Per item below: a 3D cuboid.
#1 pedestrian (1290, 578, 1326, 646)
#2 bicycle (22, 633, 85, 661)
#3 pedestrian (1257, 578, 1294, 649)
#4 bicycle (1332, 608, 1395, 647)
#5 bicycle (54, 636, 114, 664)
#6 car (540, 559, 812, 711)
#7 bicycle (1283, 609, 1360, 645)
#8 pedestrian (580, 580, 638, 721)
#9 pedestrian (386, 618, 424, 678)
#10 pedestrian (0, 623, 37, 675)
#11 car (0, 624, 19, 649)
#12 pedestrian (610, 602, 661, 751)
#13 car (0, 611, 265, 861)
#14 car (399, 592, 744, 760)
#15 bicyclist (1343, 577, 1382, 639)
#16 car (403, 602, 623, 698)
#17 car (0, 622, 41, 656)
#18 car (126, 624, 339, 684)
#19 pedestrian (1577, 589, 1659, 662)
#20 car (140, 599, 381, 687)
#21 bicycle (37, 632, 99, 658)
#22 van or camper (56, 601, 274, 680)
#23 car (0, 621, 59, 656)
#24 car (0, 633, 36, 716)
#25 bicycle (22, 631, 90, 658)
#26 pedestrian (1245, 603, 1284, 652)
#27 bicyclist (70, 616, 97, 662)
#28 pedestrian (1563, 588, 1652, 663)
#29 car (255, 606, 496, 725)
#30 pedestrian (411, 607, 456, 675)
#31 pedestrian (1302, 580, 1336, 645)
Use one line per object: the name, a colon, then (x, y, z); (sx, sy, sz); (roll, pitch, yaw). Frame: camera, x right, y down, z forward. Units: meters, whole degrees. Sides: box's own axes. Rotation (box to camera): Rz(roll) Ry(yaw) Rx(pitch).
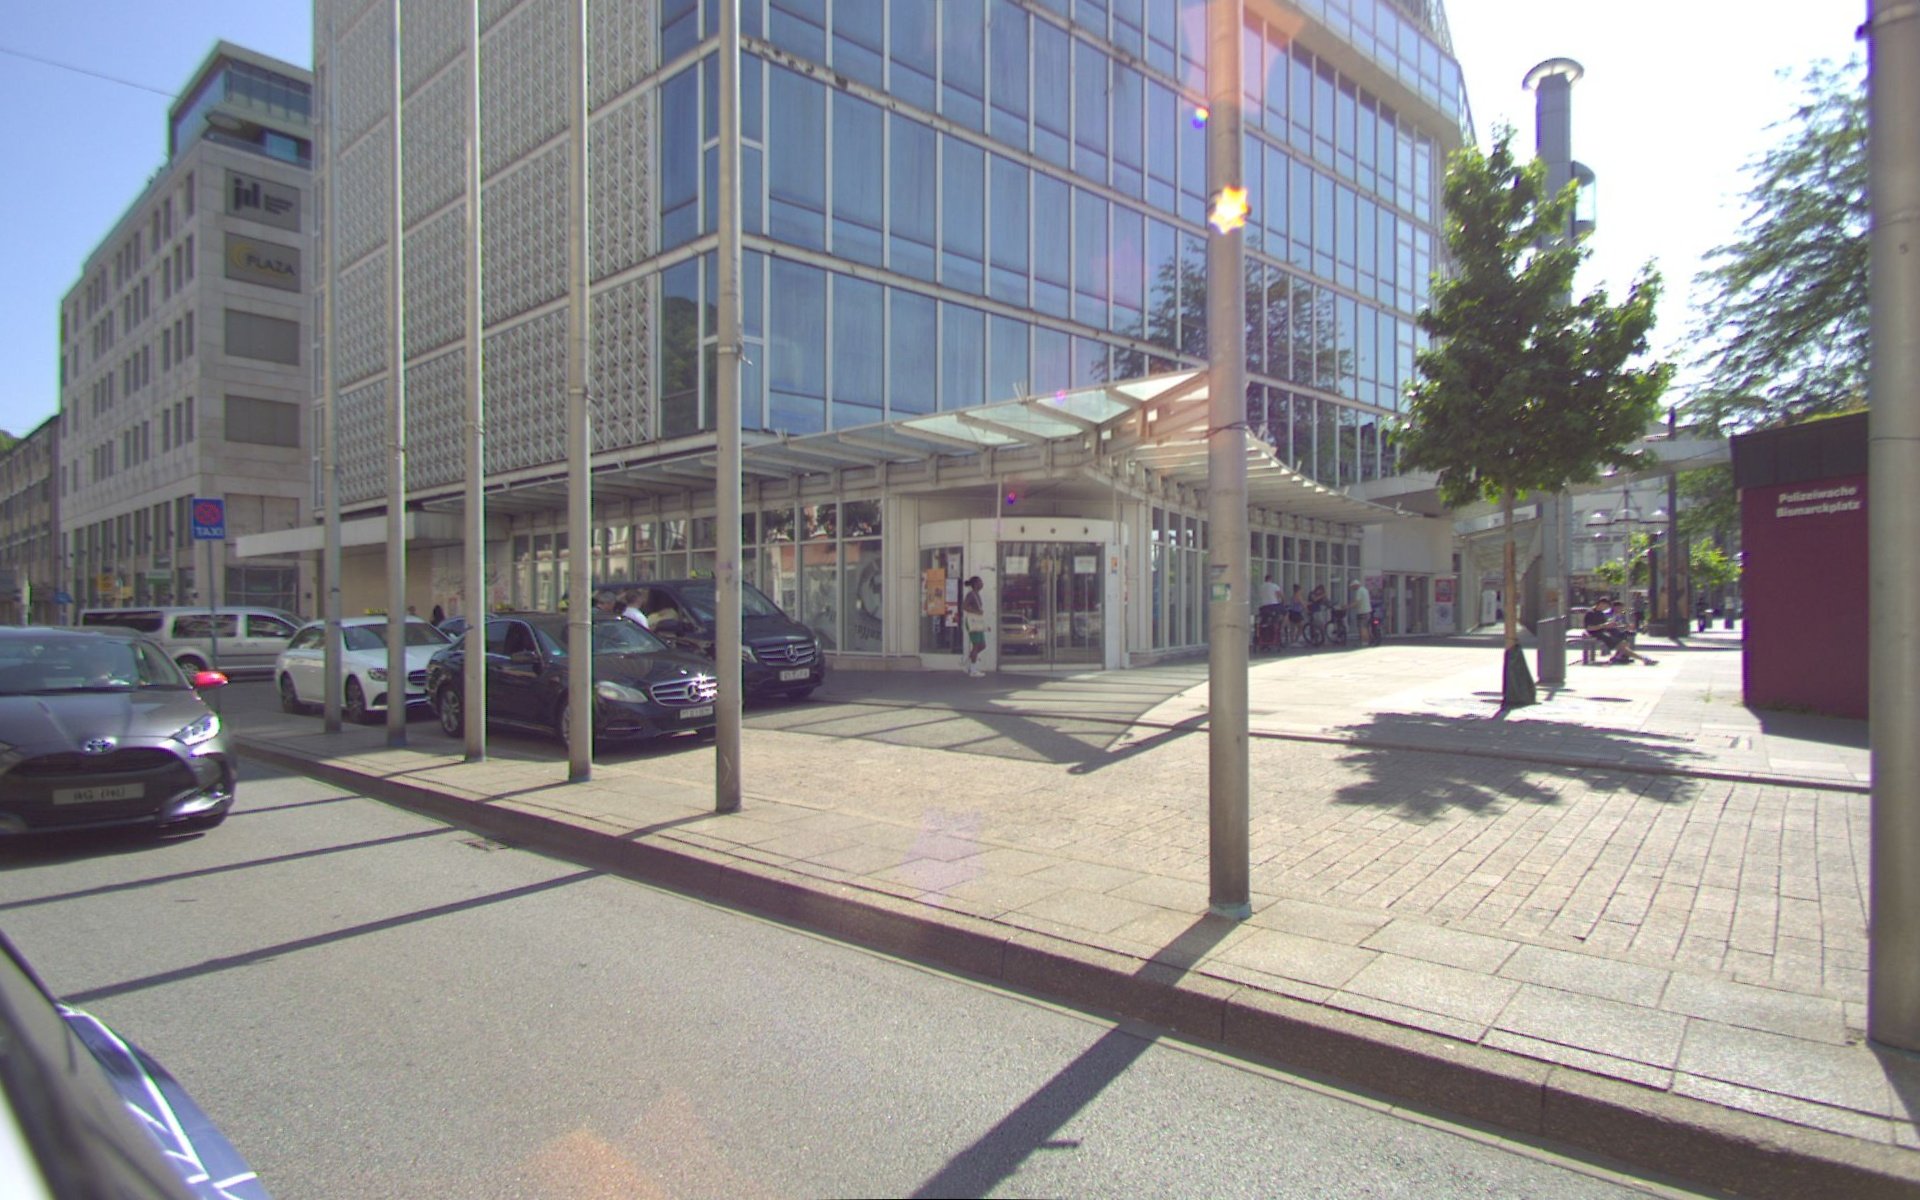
pedestrian: (9.310, 0.317, 27.060); (0.651, 1.778, 0.768); (-1, -1, 38)
bicycle: (-40.165, 2.074, 44.858); (2.030, 1.178, 0.607); (0, -1, -12)
pedestrian: (8.060, 0.338, 25.858); (0.651, 1.778, 0.768); (-1, -1, 38)
bicycle: (10.779, 0.712, 27.009); (2.399, 0.973, 0.652); (-1, 0, -45)
bicycle: (-37.871, 2.151, 43.770); (1.963, 1.135, 0.800); (0, -2, -42)
car: (-4.529, 0.511, 15.713); (4.683, 2.029, 1.813); (-2, -1, 41)
bicycle: (10.014, 0.746, 28.049); (1.930, 0.973, 0.568); (-1, 0, 31)
pedestrian: (-4.647, 0.658, 13.436); (0.610, 1.806, 0.694); (-1, -1, -10)
pedestrian: (-13.974, 1.207, 25.481); (0.640, 1.447, 0.587); (0, 2, 38)
pedestrian: (-29.580, 1.540, 31.790); (0.678, 1.571, 0.635); (-2, 0, 29)
car: (-61.515, 2.441, 62.579); (4.425, 1.443, 1.869); (-6, 3, -30)
pedestrian: (-4.048, 0.933, 12.631); (0.524, 1.806, 0.540); (-1, -1, -10)
car: (-6.985, 0.907, 7.765); (4.106, 1.489, 1.843); (-3, -4, 43)
car: (-4.721, 0.777, 11.907); (4.706, 1.612, 1.743); (-2, -1, 40)
bicyclist: (10.743, 0.209, 26.995); (0.835, 1.622, 0.651); (-1, -1, -45)
car: (-8.671, 0.894, 19.505); (4.392, 1.623, 1.975); (-1, 0, 37)
car: (-51.158, 2.151, 53.160); (4.107, 1.649, 2.105); (-5, 2, -41)
car: (-19.410, 1.404, 27.246); (4.225, 1.296, 1.977); (-2, 0, -18)
pedestrian: (13.061, 0.489, 20.096); (1.259, 1.396, 0.845); (-1, 0, 41)
car: (-16.735, 0.993, 24.458); (4.372, 1.924, 2.014); (-1, -1, -13)
bicycle: (-40.609, 2.052, 46.098); (2.028, 1.135, 0.649); (-1, -1, -23)
van or camper: (-23.079, 1.134, 29.579); (4.585, 2.029, 2.004); (-2, 0, -10)
car: (-48.437, 1.986, 51.105); (3.965, 1.614, 1.965); (-2, 2, -27)
car: (-18.561, 1.354, 18.859); (4.107, 1.407, 1.710); (-1, -1, 44)
bicycle: (-42.554, 2.102, 47.674); (2.289, 1.135, 0.564); (-2, 0, -25)
pedestrian: (7.323, 0.652, 24.359); (0.651, 1.155, 0.768); (-1, 0, 38)
bicyclist: (-37.883, 1.663, 43.738); (0.832, 1.975, 1.018); (1, -1, -43)
pedestrian: (12.452, 0.479, 19.472); (1.309, 1.396, 0.845); (-1, 0, 41)
car: (-9.146, 0.939, 15.645); (4.736, 1.534, 1.780); (-2, -1, 41)
pedestrian: (-13.543, 1.048, 26.023); (0.640, 1.673, 0.780); (0, 2, 38)
pedestrian: (9.968, 0.348, 28.077); (0.775, 1.778, 0.562); (-1, 0, 31)
